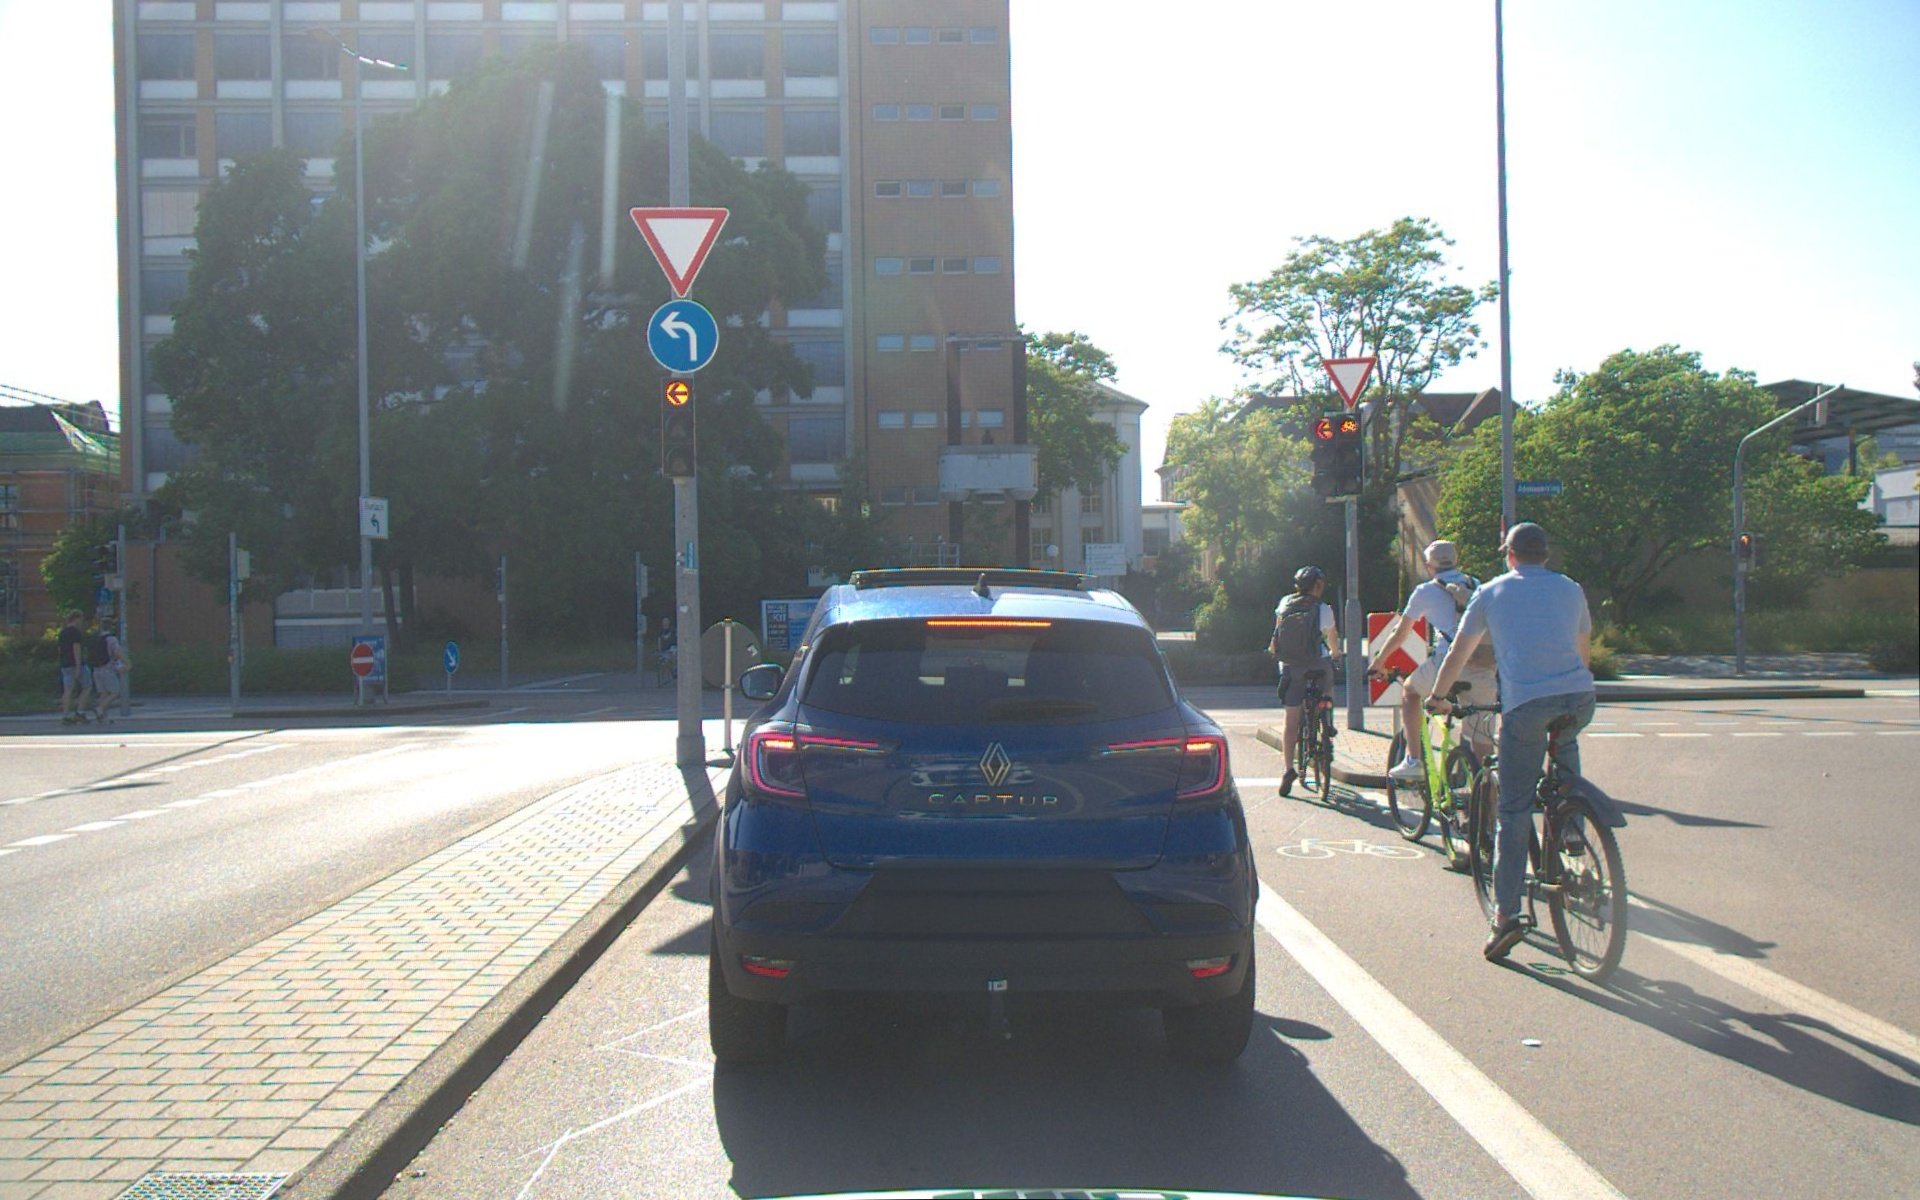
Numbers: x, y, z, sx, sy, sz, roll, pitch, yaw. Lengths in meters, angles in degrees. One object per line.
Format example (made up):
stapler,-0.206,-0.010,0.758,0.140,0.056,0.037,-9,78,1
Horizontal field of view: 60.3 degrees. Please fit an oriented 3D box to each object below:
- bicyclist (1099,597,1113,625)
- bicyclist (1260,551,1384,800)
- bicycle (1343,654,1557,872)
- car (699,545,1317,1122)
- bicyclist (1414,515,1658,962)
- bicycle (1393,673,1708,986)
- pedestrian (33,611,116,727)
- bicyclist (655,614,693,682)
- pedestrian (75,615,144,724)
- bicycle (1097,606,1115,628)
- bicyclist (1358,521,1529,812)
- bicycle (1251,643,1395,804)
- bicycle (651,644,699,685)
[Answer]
bicyclist,7.930,0.588,89.973,0.680,1.507,0.717,-1,0,-2
bicyclist,2.758,0.556,12.693,0.685,1.822,1.142,0,0,-1
bicycle,2.850,0.906,9.825,0.675,1.108,1.922,0,0,-1
car,0.057,0.658,6.638,1.753,1.613,3.912,0,0,-3
bicyclist,2.506,0.564,7.317,0.669,1.822,1.142,0,0,-1
bicycle,2.498,0.915,7.254,0.675,1.108,1.922,0,0,-1
pedestrian,-14.899,1.149,27.845,0.796,1.895,0.910,-1,0,13
bicyclist,-7.547,1.251,43.660,0.739,1.746,0.999,-1,0,5
pedestrian,-14.126,1.147,27.481,0.666,1.761,0.761,-1,0,13
bicycle,7.932,0.932,90.032,0.680,1.160,2.440,-1,0,-1
bicyclist,2.841,0.371,9.815,0.664,1.622,1.142,0,0,-1
bicycle,2.778,0.916,12.852,0.675,1.108,1.922,0,0,-1
bicycle,-7.529,1.694,43.763,0.739,1.002,2.095,-1,0,5
